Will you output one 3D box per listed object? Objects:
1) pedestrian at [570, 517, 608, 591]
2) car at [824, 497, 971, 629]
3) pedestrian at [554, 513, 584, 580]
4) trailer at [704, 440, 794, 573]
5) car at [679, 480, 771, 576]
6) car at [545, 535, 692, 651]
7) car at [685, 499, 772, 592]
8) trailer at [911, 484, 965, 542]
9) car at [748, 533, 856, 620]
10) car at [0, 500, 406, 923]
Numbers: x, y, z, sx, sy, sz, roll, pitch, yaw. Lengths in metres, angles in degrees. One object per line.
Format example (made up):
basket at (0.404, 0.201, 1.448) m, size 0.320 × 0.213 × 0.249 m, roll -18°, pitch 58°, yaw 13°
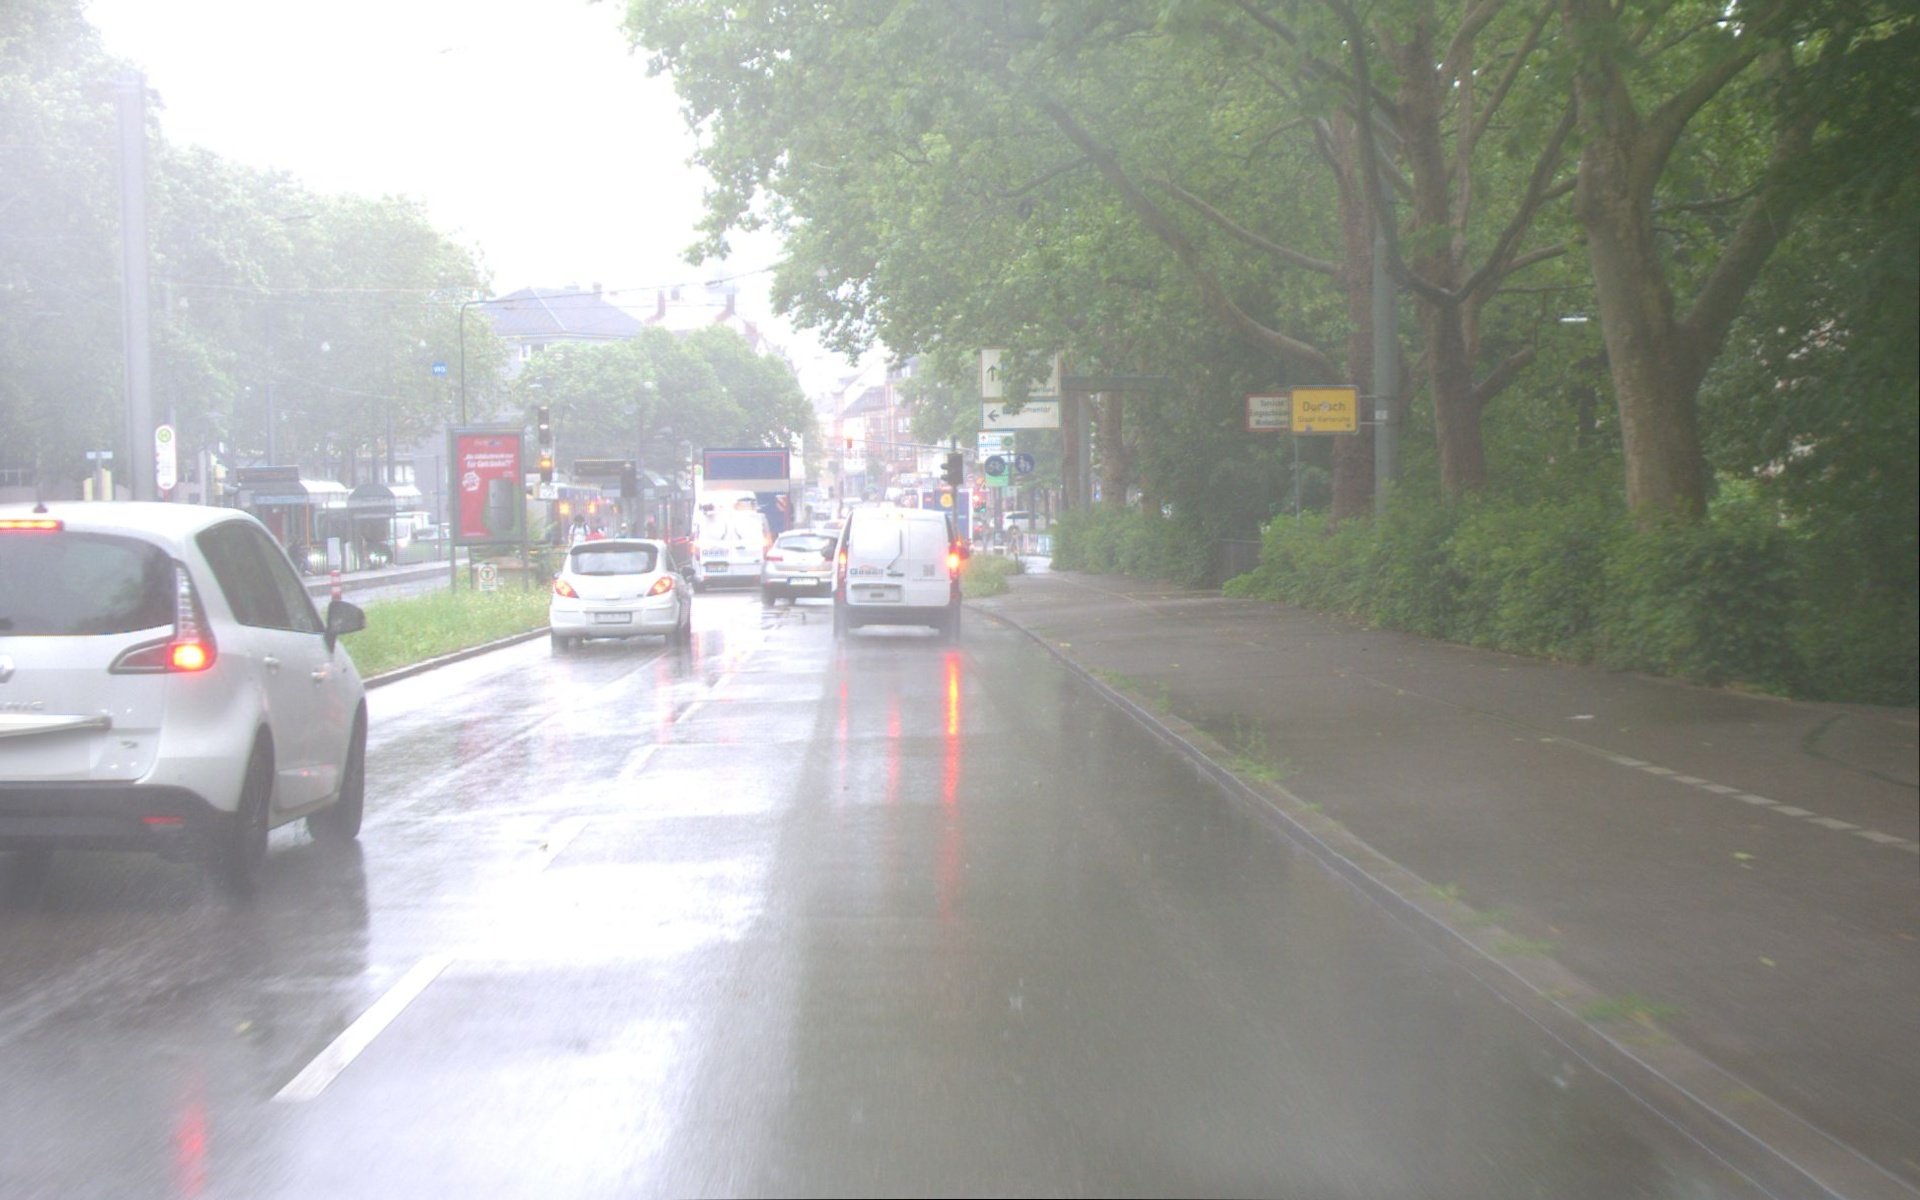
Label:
pedestrian at (-8.671, -1.078, 80.380) m, size 0.790 × 1.708 × 0.771 m, roll 1°, pitch 0°, yaw -3°
car at (-0.911, -0.512, 48.005) m, size 1.959 × 1.771 × 3.570 m, roll 0°, pitch 0°, yaw -2°
pedestrian at (-10.333, -1.409, 90.811) m, size 0.715 × 1.738 × 0.751 m, roll -1°, pitch 1°, yaw -3°
trailer at (-6.370, -2.821, 103.904) m, size 2.590 × 3.886 × 7.637 m, roll 0°, pitch 1°, yaw -3°
car at (-6.438, -1.955, 94.751) m, size 2.329 × 2.548 × 6.115 m, roll 0°, pitch 0°, yaw -2°
car at (-4.512, -0.107, 45.819) m, size 1.725 × 1.474 × 3.806 m, roll 0°, pitch 0°, yaw -2°
car at (-5.778, -1.343, 86.256) m, size 1.993 × 2.254 × 5.289 m, roll 0°, pitch 0°, yaw -2°
trailer at (-0.937, -3.574, 141.823) m, size 1.993 × 2.309 × 4.669 m, roll 0°, pitch 0°, yaw -3°
car at (-2.992, -0.449, 65.676) m, size 1.908 × 1.612 × 4.000 m, roll 0°, pitch 0°, yaw -1°
car at (-3.747, 0.395, 15.289) m, size 1.864 × 1.618 × 4.263 m, roll 0°, pitch 1°, yaw 0°
